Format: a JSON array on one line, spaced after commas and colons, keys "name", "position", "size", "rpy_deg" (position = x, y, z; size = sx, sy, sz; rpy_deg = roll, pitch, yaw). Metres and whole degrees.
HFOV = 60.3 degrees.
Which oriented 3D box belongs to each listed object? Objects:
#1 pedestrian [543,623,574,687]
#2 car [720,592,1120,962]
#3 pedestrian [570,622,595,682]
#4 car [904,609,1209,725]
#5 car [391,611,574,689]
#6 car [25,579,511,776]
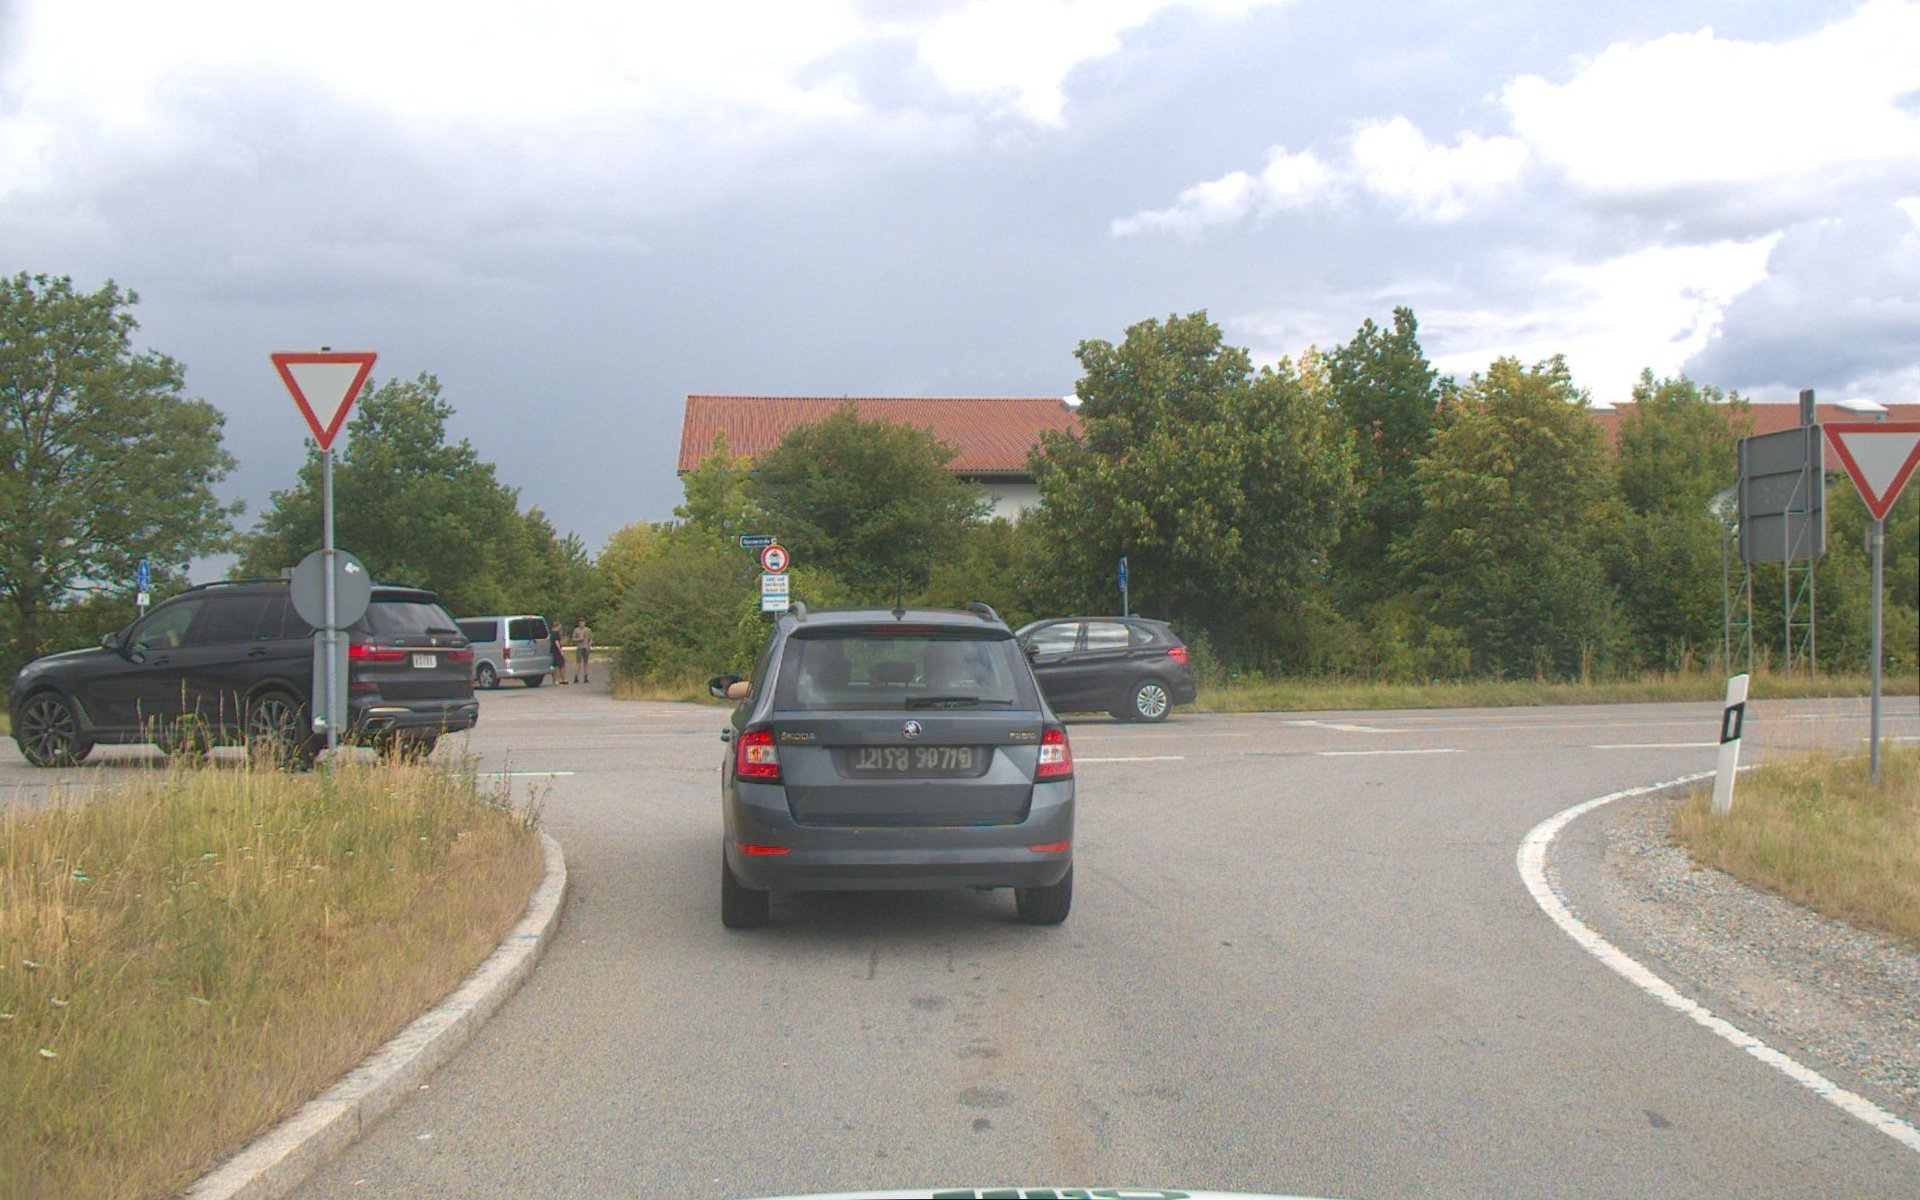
[{"name": "pedestrian", "position": [-11.294, 1.535, 46.519], "size": [0.518, 1.756, 0.640], "rpy_deg": [-1, 0, 30]}, {"name": "car", "position": [-0.380, 0.732, 8.614], "size": [1.644, 1.488, 3.701], "rpy_deg": [0, -1, -7]}, {"name": "pedestrian", "position": [-11.005, 1.506, 48.191], "size": [0.576, 1.712, 0.562], "rpy_deg": [-2, 0, -24]}, {"name": "car", "position": [1.386, 0.969, 24.725], "size": [4.208, 1.513, 1.996], "rpy_deg": [-2, -1, -9]}, {"name": "car", "position": [-13.541, 1.400, 46.852], "size": [4.809, 2.049, 2.337], "rpy_deg": [-1, 1, 31]}, {"name": "car", "position": [-7.086, 0.760, 16.955], "size": [4.534, 1.806, 1.999], "rpy_deg": [-1, -1, 23]}]
